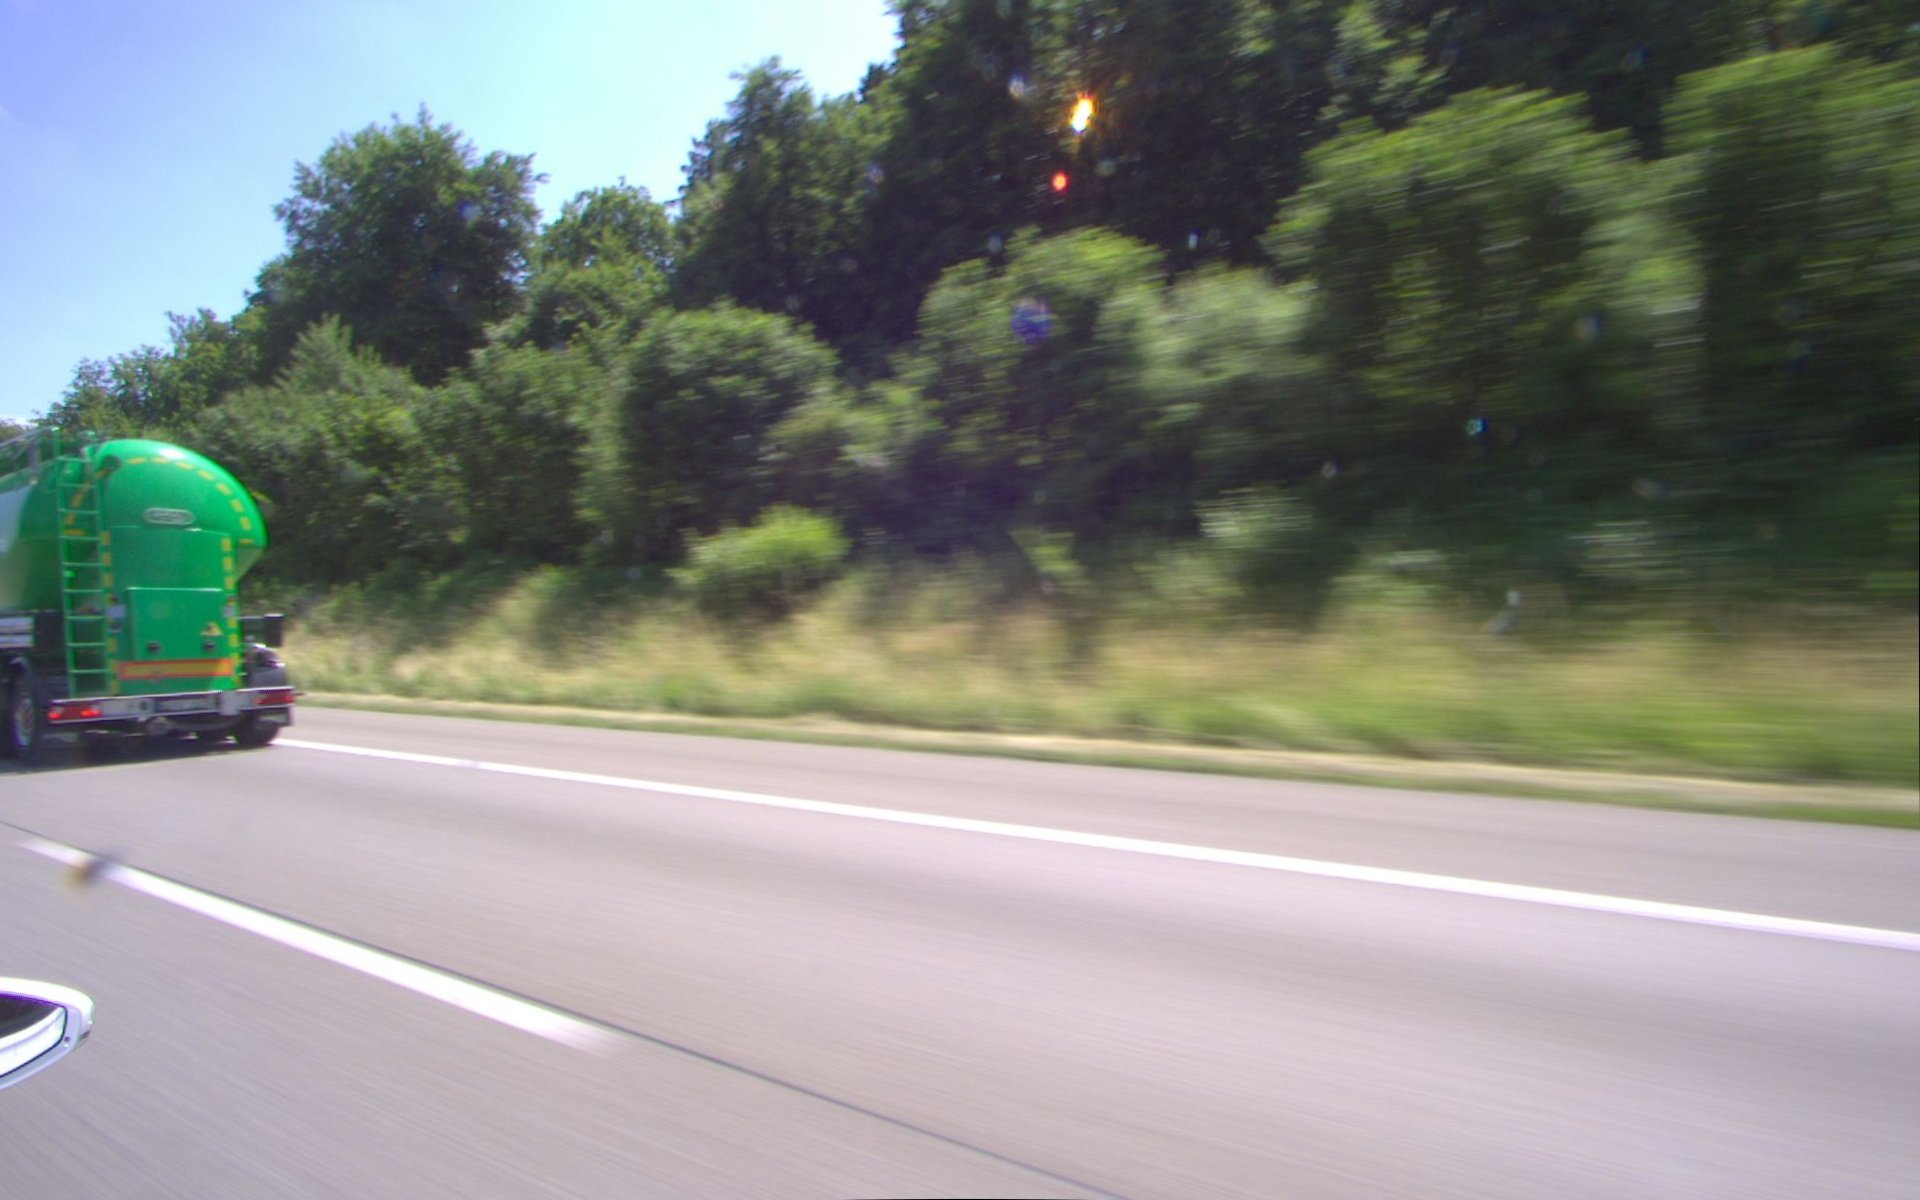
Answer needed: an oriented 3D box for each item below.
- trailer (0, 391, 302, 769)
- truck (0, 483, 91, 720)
[{"bbox_3d":[-13.504,-0.120,14.792,10.326,4.080,2.581,-1,-1,34],"label":"trailer"},{"bbox_3d":[-17.825,0.058,17.688,4.823,3.892,2.505,-1,-1,33],"label":"truck"}]
